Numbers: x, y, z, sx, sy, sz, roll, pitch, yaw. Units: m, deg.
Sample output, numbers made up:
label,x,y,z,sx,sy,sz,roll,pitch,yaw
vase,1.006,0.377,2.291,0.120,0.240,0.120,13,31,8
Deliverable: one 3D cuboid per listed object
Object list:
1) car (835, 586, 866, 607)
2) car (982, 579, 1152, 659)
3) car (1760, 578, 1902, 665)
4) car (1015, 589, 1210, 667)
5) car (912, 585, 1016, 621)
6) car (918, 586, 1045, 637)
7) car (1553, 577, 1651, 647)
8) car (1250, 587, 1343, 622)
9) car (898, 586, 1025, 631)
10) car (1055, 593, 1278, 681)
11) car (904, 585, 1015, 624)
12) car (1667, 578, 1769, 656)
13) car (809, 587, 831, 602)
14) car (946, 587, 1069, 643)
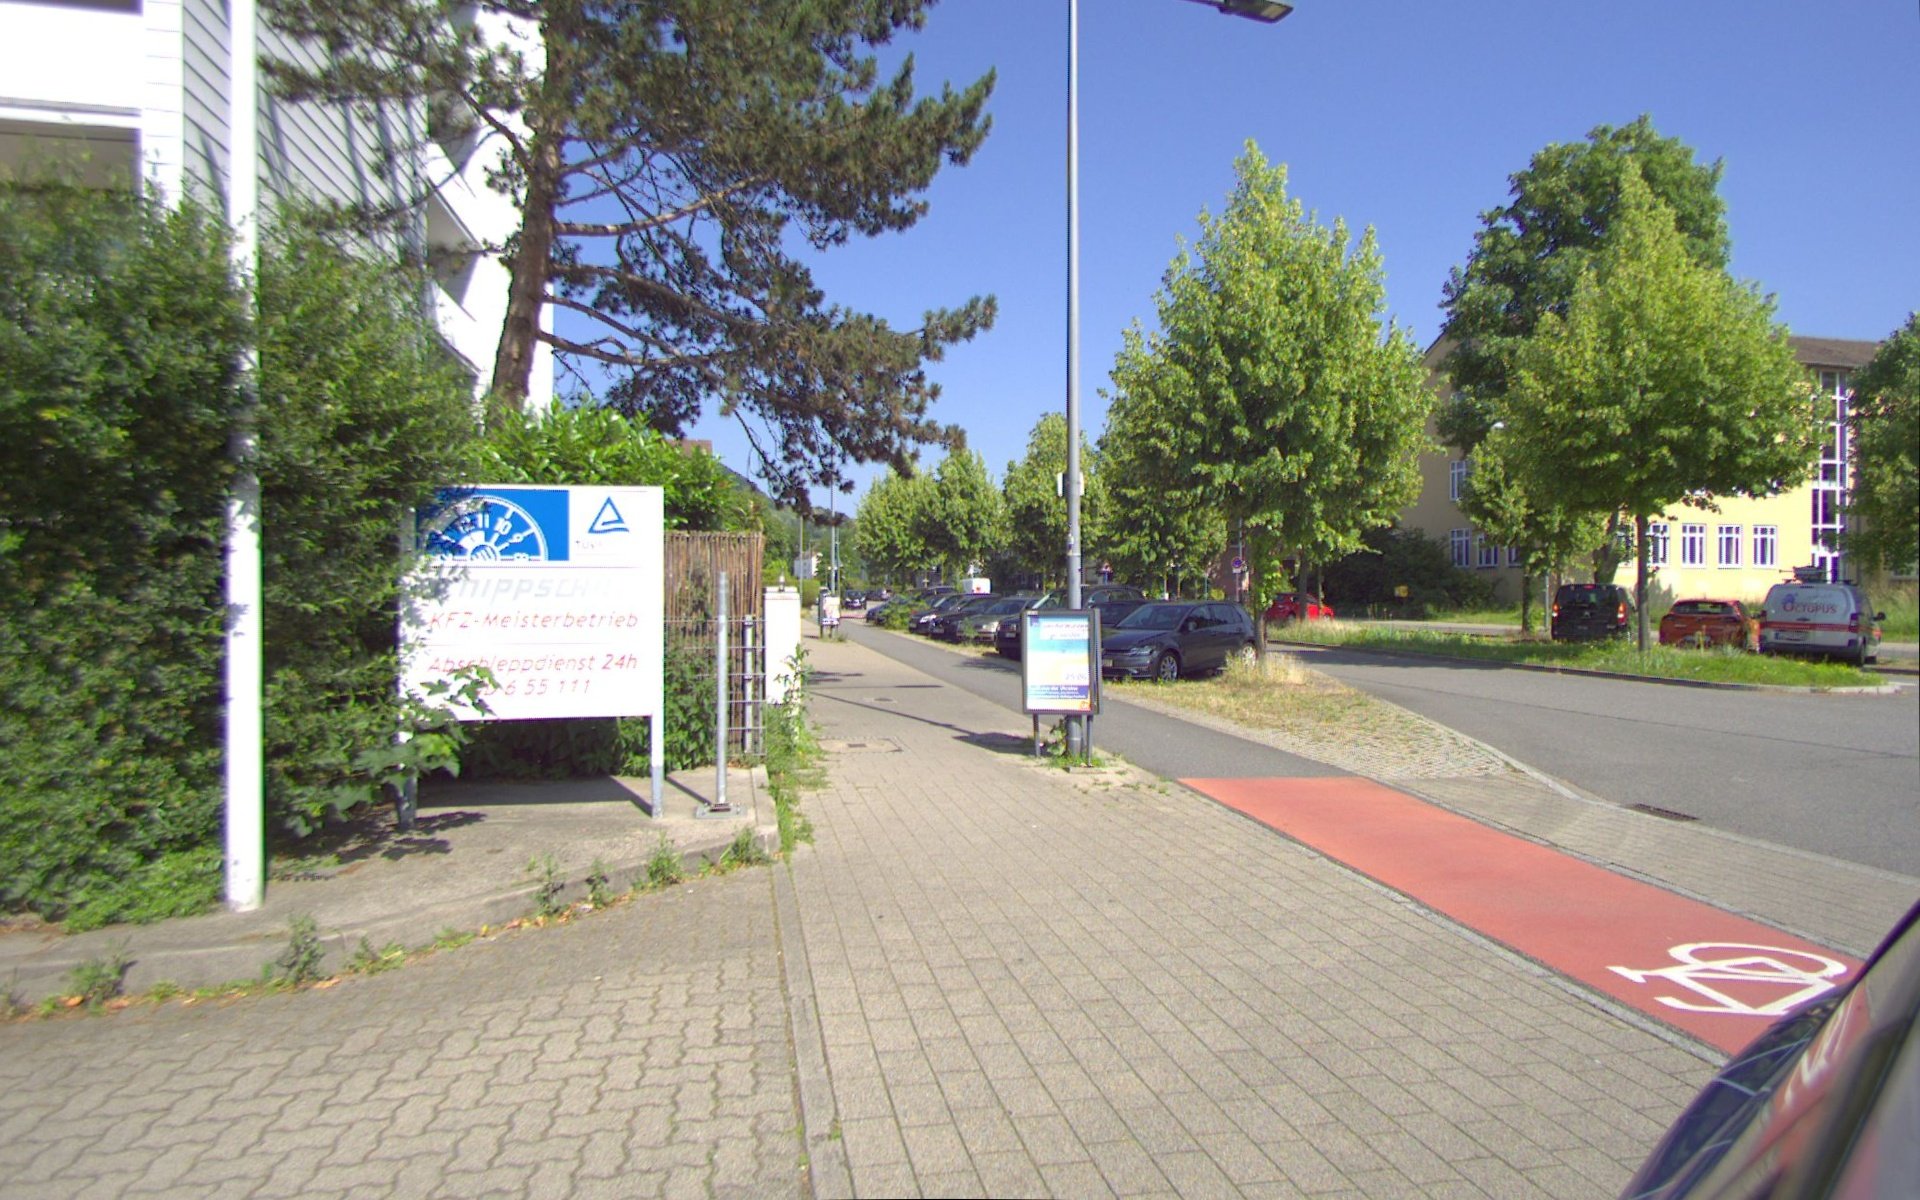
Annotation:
label,x,y,z,sx,sy,sz,roll,pitch,yaw
car,-8.188,-0.254,75.443,1.669,1.500,4.235,0,1,-15
car,2.626,0.409,24.118,1.700,1.742,4.332,1,1,45
car,19.636,0.446,22.763,4.153,1.744,1.878,1,1,-42
car,3.355,0.572,21.913,4.150,1.500,1.879,1,0,-40
car,0.162,0.090,43.745,4.137,1.500,1.708,0,0,-17
car,0.758,0.320,32.473,1.700,1.500,4.158,0,1,45
car,17.751,0.325,27.894,1.872,1.744,4.167,2,1,38
car,14.655,0.205,44.068,3.652,1.408,1.883,2,1,-31
car,0.060,0.258,35.250,4.140,1.500,1.707,-1,1,-28
car,3.913,0.644,18.891,4.150,1.435,1.879,1,0,-40
car,-0.024,0.170,40.621,4.137,1.500,1.708,0,0,-17
car,19.093,0.397,25.479,1.872,1.744,4.167,2,1,38
car,-13.830,-0.555,100.012,1.669,1.500,4.235,0,1,-15
car,1.474,0.383,29.757,1.694,1.500,4.173,0,1,35
